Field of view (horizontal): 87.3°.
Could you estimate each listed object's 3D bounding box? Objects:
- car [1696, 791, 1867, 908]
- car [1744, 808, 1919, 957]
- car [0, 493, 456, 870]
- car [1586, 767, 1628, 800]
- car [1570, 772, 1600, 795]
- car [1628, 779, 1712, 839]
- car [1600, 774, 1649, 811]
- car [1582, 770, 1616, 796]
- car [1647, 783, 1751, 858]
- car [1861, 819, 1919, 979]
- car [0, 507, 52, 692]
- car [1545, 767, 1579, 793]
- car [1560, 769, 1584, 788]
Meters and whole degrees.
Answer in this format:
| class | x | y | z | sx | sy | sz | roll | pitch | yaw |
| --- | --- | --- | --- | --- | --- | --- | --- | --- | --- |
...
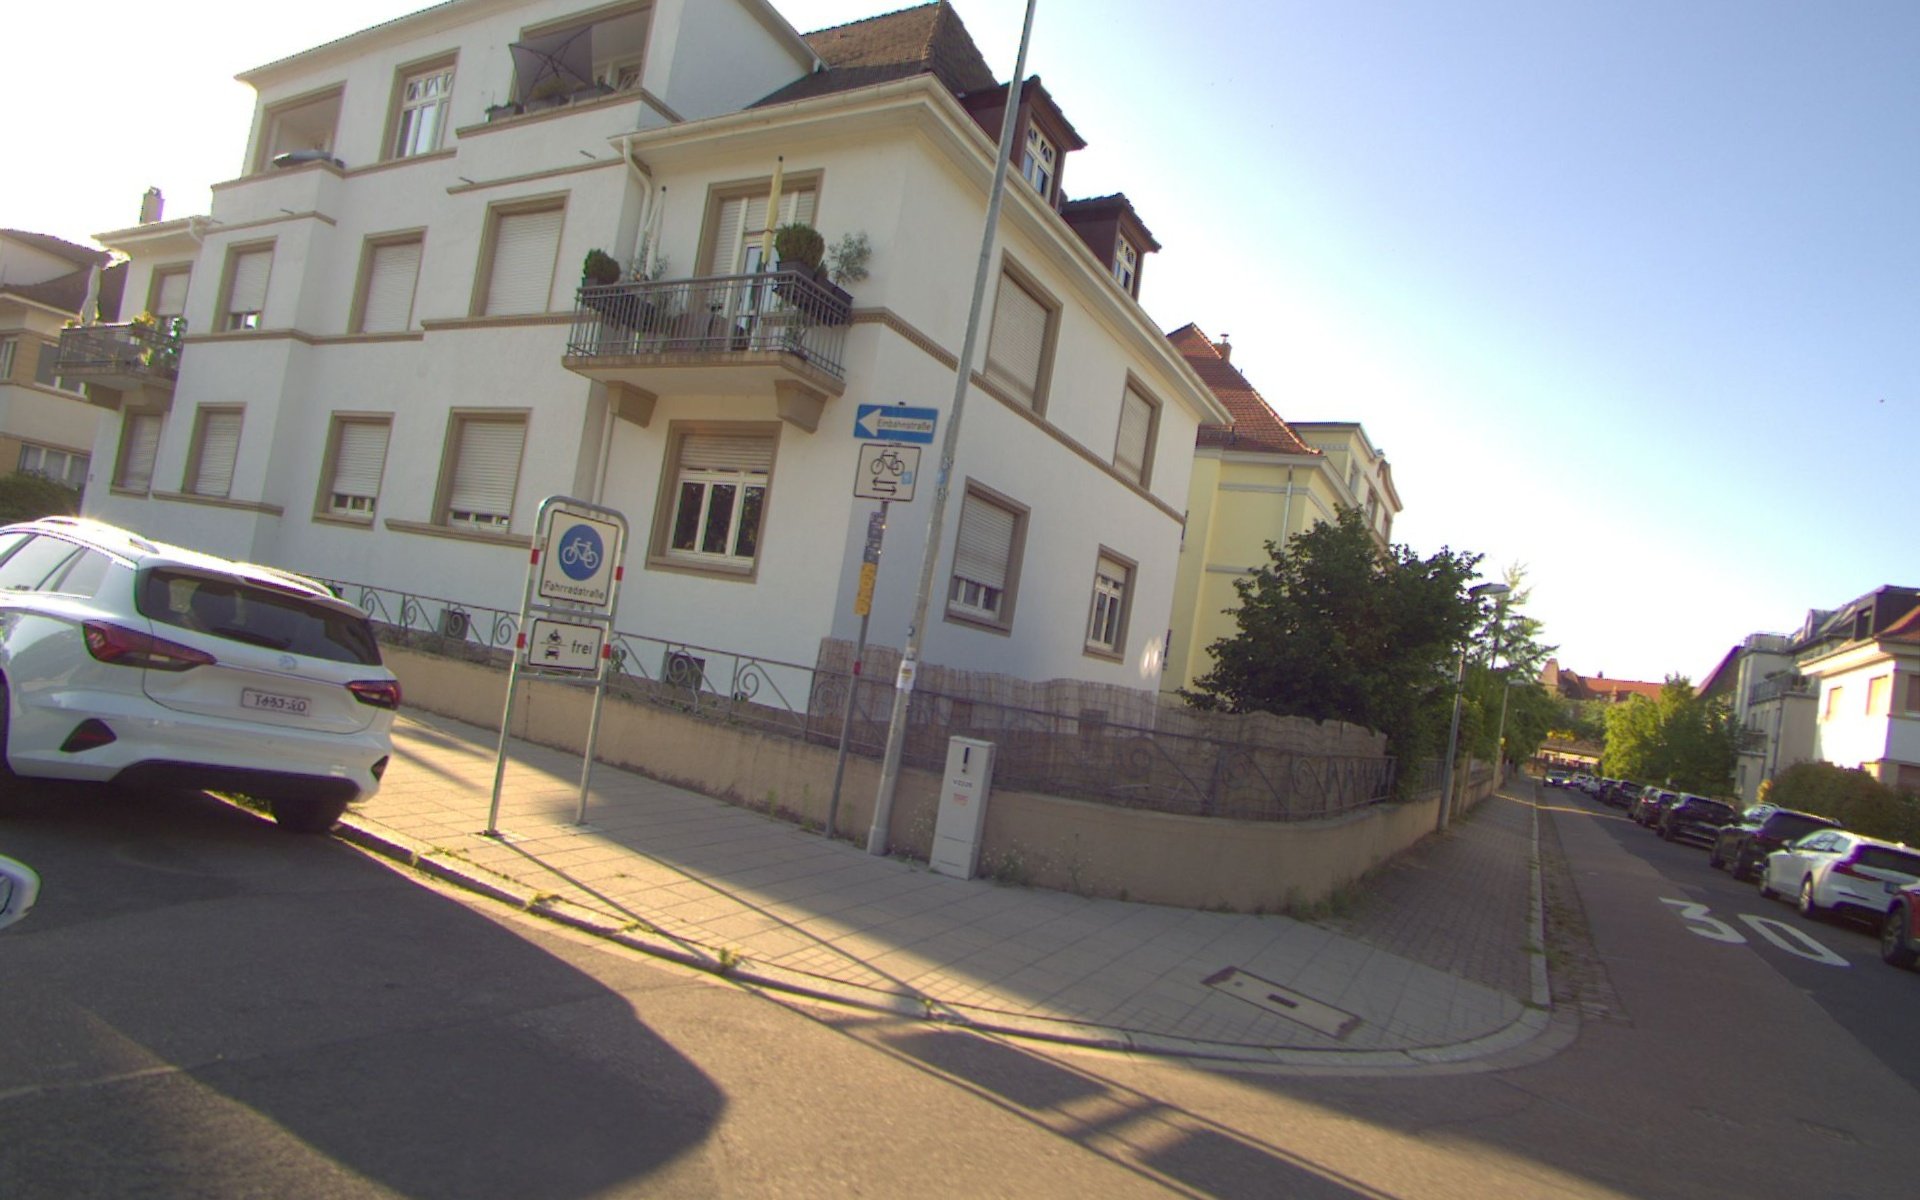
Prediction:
| class | x | y | z | sx | sy | sz | roll | pitch | yaw |
| --- | --- | --- | --- | --- | --- | --- | --- | --- | --- |
| car | 17.422 | 5.221 | 21.578 | 1.750 | 1.641 | 4.262 | 12 | -2 | 28 |
| car | 14.269 | 4.445 | 16.000 | 1.839 | 1.541 | 4.262 | 13 | -1 | 28 |
| car | -5.406 | 0.271 | 6.313 | 4.285 | 1.622 | 1.765 | 7 | -4 | 30 |
| car | 42.014 | 11.895 | 65.418 | 1.750 | 1.641 | 4.262 | 8 | -4 | 28 |
| car | 55.549 | 16.292 | 89.480 | 1.750 | 1.641 | 4.262 | 8 | -4 | 28 |
| car | 26.523 | 7.765 | 37.708 | 1.750 | 1.641 | 4.262 | 11 | -3 | 28 |
| car | 38.159 | 11.042 | 57.835 | 1.750 | 1.641 | 4.262 | 8 | -4 | 28 |
| car | 51.520 | 14.718 | 81.113 | 1.750 | 1.641 | 4.262 | 8 | -4 | 28 |
| car | 22.893 | 6.773 | 31.311 | 1.750 | 1.641 | 4.262 | 12 | -2 | 29 |
| car | 11.039 | 3.377 | 10.093 | 1.815 | 1.626 | 3.858 | 13 | -1 | 28 |
| car | -10.431 | -0.314 | 9.269 | 4.031 | 1.664 | 1.695 | 7 | -8 | 31 |
| car | 49.253 | 14.727 | 82.350 | 1.965 | 1.634 | 4.002 | 8 | -4 | 29 |
| car | 64.322 | 18.716 | 105.703 | 1.750 | 1.641 | 4.261 | 8 | -4 | 29 |
